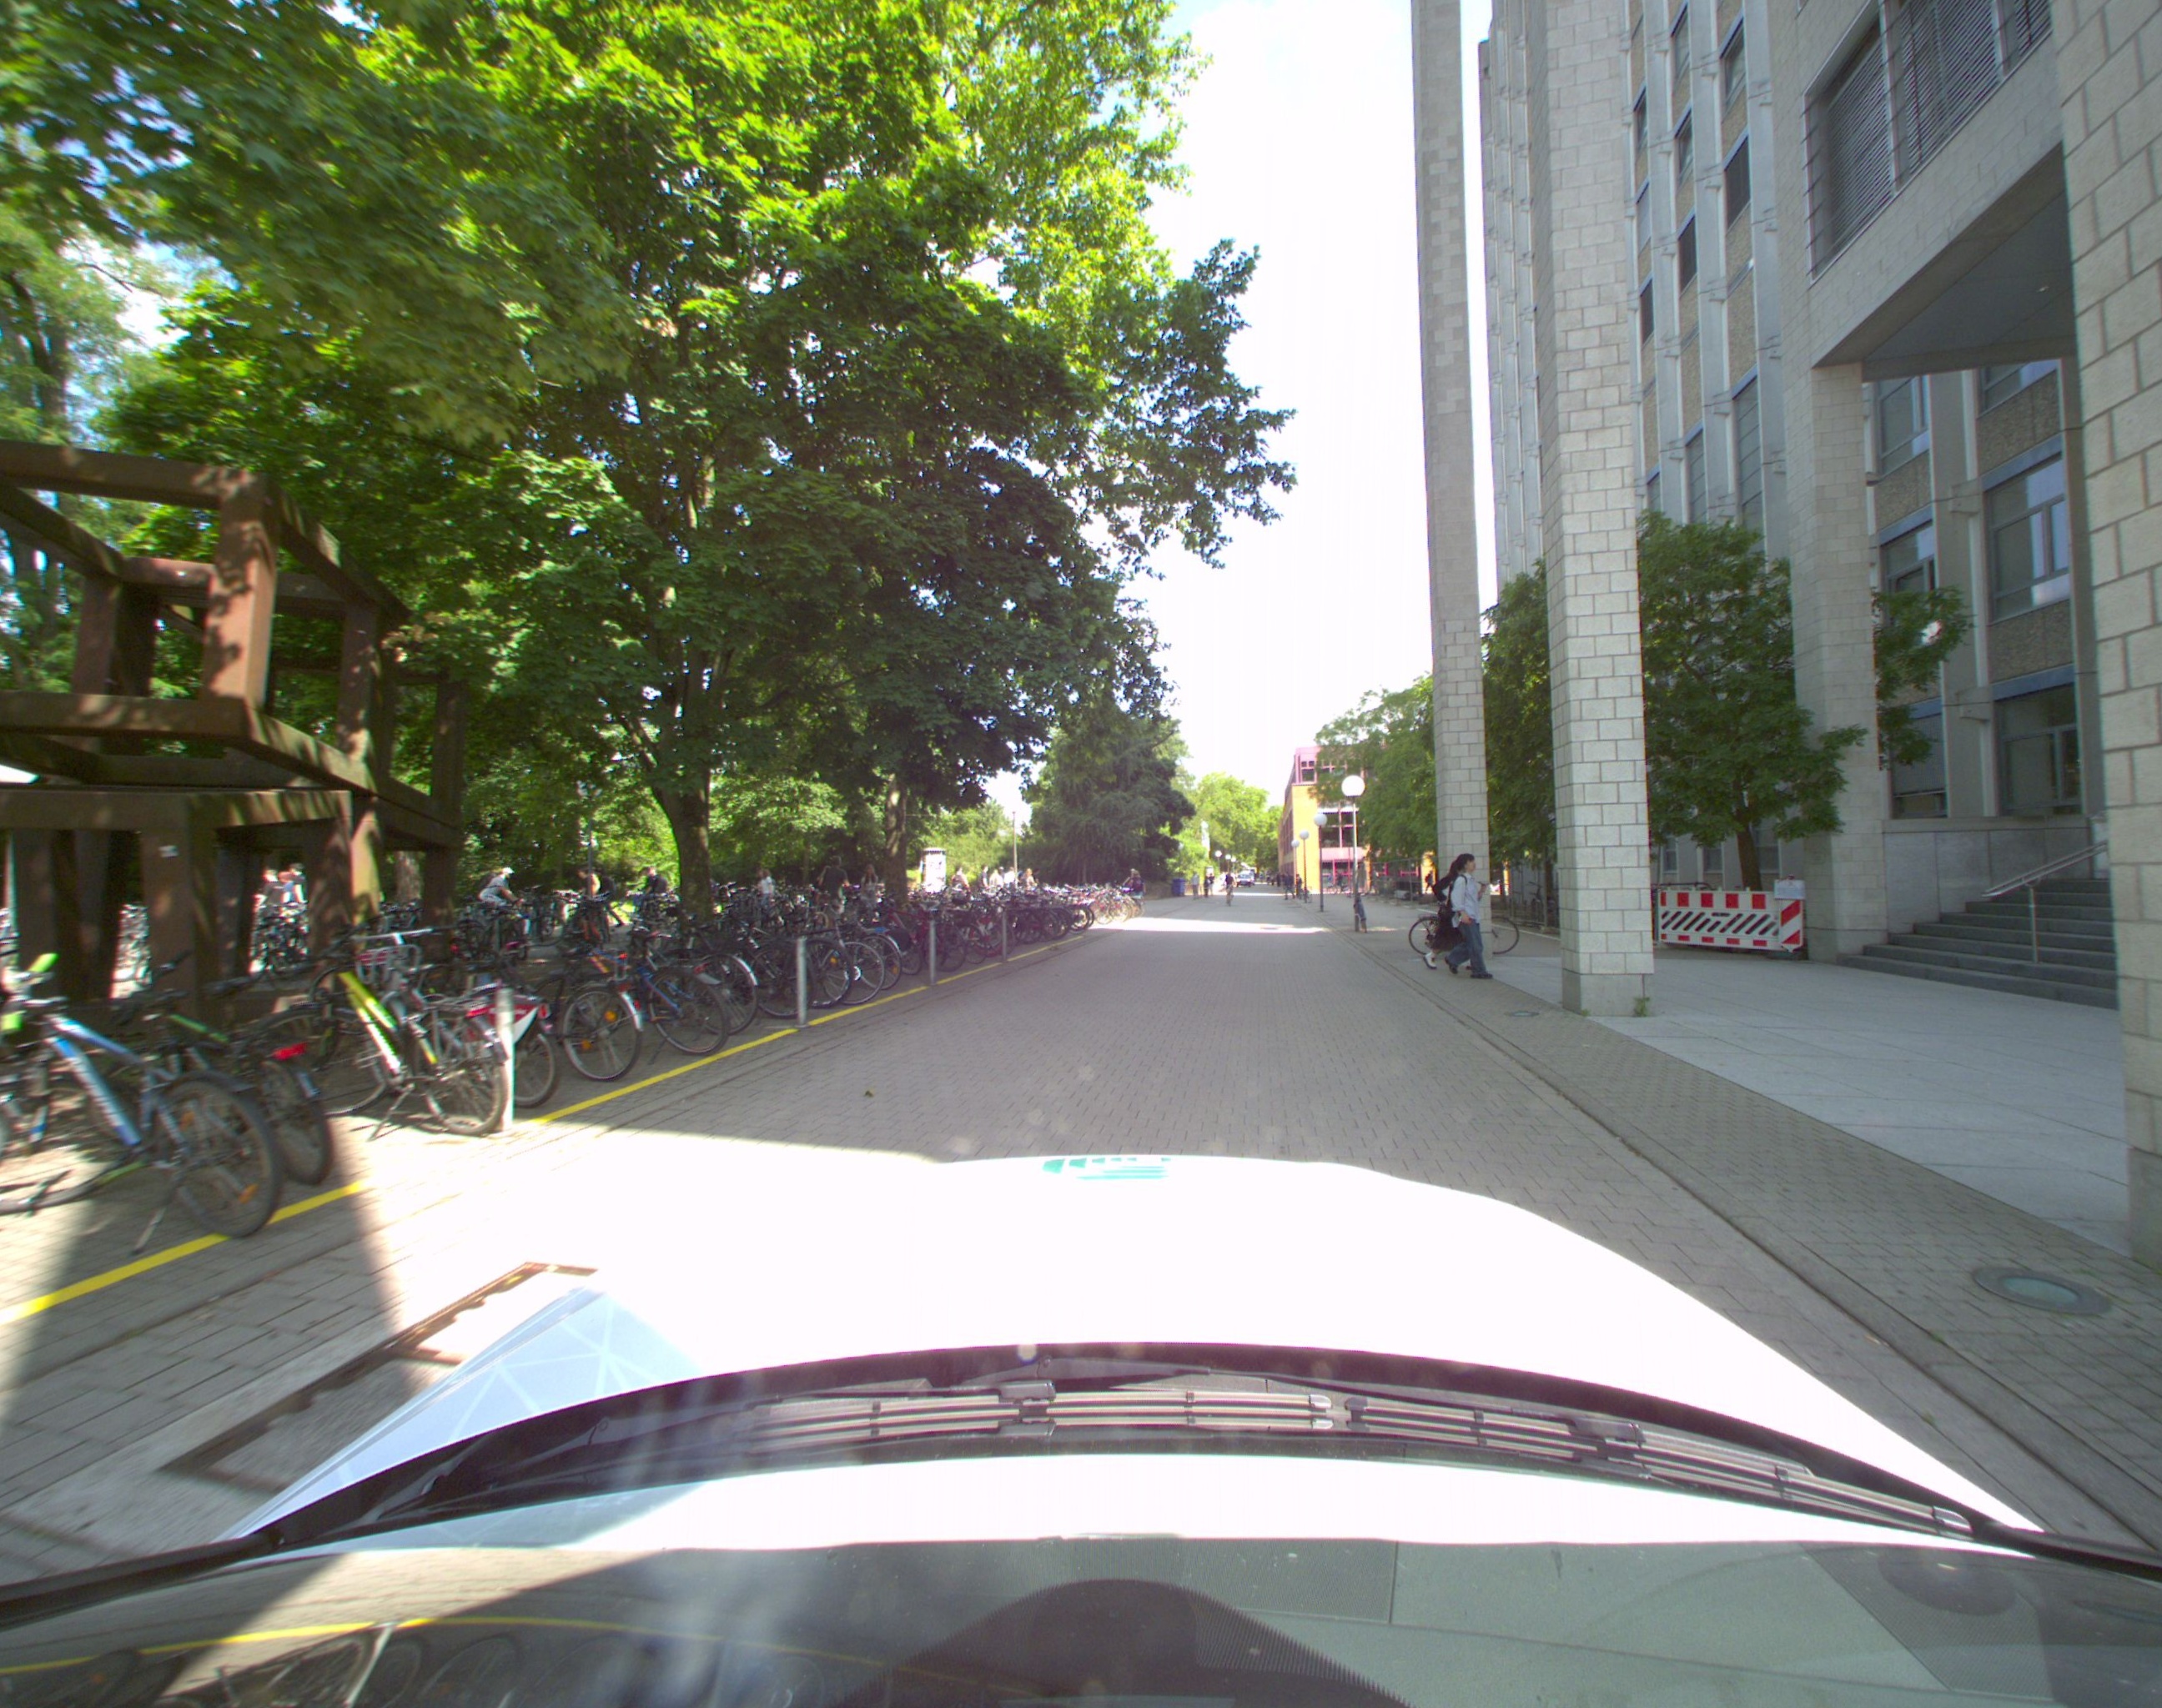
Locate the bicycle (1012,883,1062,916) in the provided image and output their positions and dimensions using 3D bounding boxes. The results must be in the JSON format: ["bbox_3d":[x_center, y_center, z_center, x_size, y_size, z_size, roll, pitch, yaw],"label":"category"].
[{"bbox_3d":[-1.514,1.549,27.715,1.678,1.084,0.477,-1,-2,28],"label":"bicycle"}]

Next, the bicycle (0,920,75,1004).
[{"bbox_3d":[-15.450,1.550,11.553,0.502,1.108,1.895,0,-2,-18],"label":"bicycle"}]

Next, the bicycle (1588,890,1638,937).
[{"bbox_3d":[11.214,1.239,17.194,0.289,0.905,1.451,-2,-1,9],"label":"bicycle"}]

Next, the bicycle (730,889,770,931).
[{"bbox_3d":[-9.189,1.535,22.571,0.477,1.084,1.679,1,-2,-43],"label":"bicycle"}]

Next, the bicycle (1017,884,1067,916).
[{"bbox_3d":[-1.355,1.572,28.185,1.702,1.084,0.477,-1,-2,26],"label":"bicycle"}]

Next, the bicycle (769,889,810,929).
[{"bbox_3d":[-8.280,1.545,23.077,0.477,1.084,1.679,1,-2,-43],"label":"bicycle"}]

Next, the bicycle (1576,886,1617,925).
[{"bbox_3d":[12.977,1.277,20.536,0.289,0.905,1.451,-2,-1,9],"label":"bicycle"}]

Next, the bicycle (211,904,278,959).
[{"bbox_3d":[-18.239,1.663,17.787,0.475,1.084,1.684,1,-2,-27],"label":"bicycle"}]

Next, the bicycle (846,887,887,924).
[{"bbox_3d":[-6.456,1.530,24.458,0.477,1.084,1.679,1,-2,-43],"label":"bicycle"}]

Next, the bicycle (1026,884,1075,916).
[{"bbox_3d":[-1.078,1.605,28.657,1.679,1.110,0.477,-1,-2,24],"label":"bicycle"}]

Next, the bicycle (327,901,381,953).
[{"bbox_3d":[-16.516,1.635,18.538,0.475,1.084,1.684,1,-2,-27],"label":"bicycle"}]

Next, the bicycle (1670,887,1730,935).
[{"bbox_3d":[12.696,1.147,16.738,0.289,0.905,1.451,-2,-1,9],"label":"bicycle"}]

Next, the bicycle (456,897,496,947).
[{"bbox_3d":[-14.468,1.604,19.509,0.475,1.084,1.684,1,-2,-27],"label":"bicycle"}]

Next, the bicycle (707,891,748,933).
[{"bbox_3d":[-9.682,1.564,22.270,0.477,1.084,1.679,1,-2,-43],"label":"bicycle"}]

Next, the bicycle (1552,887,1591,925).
[{"bbox_3d":[12.374,1.294,20.565,0.289,0.905,1.451,-2,-1,9],"label":"bicycle"}]

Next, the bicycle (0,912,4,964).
[{"bbox_3d":[-22.509,1.733,16.139,0.474,1.084,1.689,0,-2,-17],"label":"bicycle"}]

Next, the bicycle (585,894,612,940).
[{"bbox_3d":[-12.311,1.577,20.799,0.475,1.084,1.684,1,-2,-27],"label":"bicycle"}]

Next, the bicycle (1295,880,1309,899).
[{"bbox_3d":[13.731,2.197,50.547,0.703,1.093,1.754,-1,-2,12],"label":"bicycle"}]

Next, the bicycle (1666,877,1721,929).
[{"bbox_3d":[13.633,1.061,18.152,0.289,1.099,1.451,-2,-2,9],"label":"bicycle"}]

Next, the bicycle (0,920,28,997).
[{"bbox_3d":[-15.949,1.533,11.338,0.502,1.108,1.993,0,-2,-18],"label":"bicycle"}]

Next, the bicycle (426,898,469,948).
[{"bbox_3d":[-14.926,1.600,19.225,0.475,1.084,1.684,1,-2,-27],"label":"bicycle"}]

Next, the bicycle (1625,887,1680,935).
[{"bbox_3d":[11.852,1.163,16.917,0.289,0.905,1.451,-2,-1,9],"label":"bicycle"}]

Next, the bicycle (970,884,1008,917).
[{"bbox_3d":[-3.074,1.537,27.204,0.476,1.084,1.680,1,-2,-36],"label":"bicycle"}]

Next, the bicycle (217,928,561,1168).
[{"bbox_3d":[-3.798,0.990,4.494,1.612,1.108,0.632,-1,-2,16],"label":"bicycle"}]

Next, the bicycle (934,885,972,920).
[{"bbox_3d":[-4.160,1.557,26.397,0.476,1.084,1.680,1,-2,-36],"label":"bicycle"}]

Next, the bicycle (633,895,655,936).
[{"bbox_3d":[-11.241,1.562,20.966,0.453,0.962,1.724,1,-2,-27],"label":"bicycle"}]

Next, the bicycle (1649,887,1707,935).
[{"bbox_3d":[12.297,1.151,16.810,0.289,0.905,1.451,-2,-1,9],"label":"bicycle"}]

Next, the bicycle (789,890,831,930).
[{"bbox_3d":[-7.801,1.582,23.398,0.477,1.084,1.679,1,-2,-43],"label":"bicycle"}]

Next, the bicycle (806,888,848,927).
[{"bbox_3d":[-7.441,1.535,23.804,0.477,1.084,1.679,1,-2,-43],"label":"bicycle"}]

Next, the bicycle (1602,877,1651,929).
[{"bbox_3d":[12.272,1.081,18.365,0.289,1.128,1.451,-2,-2,9],"label":"bicycle"}]

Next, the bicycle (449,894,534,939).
[{"bbox_3d":[-15.226,1.606,21.075,1.704,1.084,0.598,0,-2,-29],"label":"bicycle"}]

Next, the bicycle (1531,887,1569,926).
[{"bbox_3d":[11.833,1.307,20.579,0.289,0.905,1.451,-2,-1,9],"label":"bicycle"}]

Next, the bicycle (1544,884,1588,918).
[{"bbox_3d":[13.877,1.332,23.351,0.289,0.905,1.807,-1,-1,4],"label":"bicycle"}]

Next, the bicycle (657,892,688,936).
[{"bbox_3d":[-10.862,1.575,21.621,0.476,1.084,1.681,1,-2,-35],"label":"bicycle"}]

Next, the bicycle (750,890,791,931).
[{"bbox_3d":[-8.679,1.550,22.713,0.477,1.084,1.679,1,-2,-43],"label":"bicycle"}]

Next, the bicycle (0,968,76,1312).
[{"bbox_3d":[-4.410,1.001,2.968,1.610,1.108,0.500,-2,0,23],"label":"bicycle"}]

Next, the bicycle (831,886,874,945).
[{"bbox_3d":[-5.035,1.315,17.871,0.577,1.200,1.684,1,-2,-27],"label":"bicycle"}]

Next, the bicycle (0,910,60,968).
[{"bbox_3d":[-21.456,1.699,16.233,0.474,1.084,1.689,0,-2,-17],"label":"bicycle"}]

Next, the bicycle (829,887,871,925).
[{"bbox_3d":[-6.870,1.532,24.162,0.477,1.084,1.679,1,-2,-43],"label":"bicycle"}]

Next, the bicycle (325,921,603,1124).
[{"bbox_3d":[-3.848,0.991,5.088,1.612,1.108,0.508,-1,-2,16],"label":"bicycle"}]

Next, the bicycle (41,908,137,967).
[{"bbox_3d":[-20.437,1.695,16.823,0.474,1.084,1.687,0,-2,-21],"label":"bicycle"}]

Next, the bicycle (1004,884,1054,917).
[{"bbox_3d":[-1.745,1.557,27.261,1.678,1.084,0.477,-1,-2,27],"label":"bicycle"}]

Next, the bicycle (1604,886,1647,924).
[{"bbox_3d":[13.642,1.264,20.445,0.289,0.905,1.451,-2,-1,9],"label":"bicycle"}]

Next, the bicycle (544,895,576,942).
[{"bbox_3d":[-12.974,1.579,20.302,0.475,1.084,1.684,1,-2,-27],"label":"bicycle"}]

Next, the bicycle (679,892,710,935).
[{"bbox_3d":[-10.396,1.570,21.874,0.476,1.084,1.681,1,-2,-35],"label":"bicycle"}]

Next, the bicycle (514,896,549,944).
[{"bbox_3d":[-13.522,1.593,20.065,0.475,1.084,1.684,1,-2,-27],"label":"bicycle"}]

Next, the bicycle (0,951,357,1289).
[{"bbox_3d":[-3.840,0.990,3.341,1.612,1.108,0.499,-1,-2,16],"label":"bicycle"}]

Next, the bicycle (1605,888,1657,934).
[{"bbox_3d":[11.540,1.178,17.120,0.289,0.905,1.451,-2,-1,9],"label":"bicycle"}]

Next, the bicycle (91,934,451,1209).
[{"bbox_3d":[-3.915,0.971,3.942,1.612,1.108,0.499,-1,-2,16],"label":"bicycle"}]

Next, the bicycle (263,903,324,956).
[{"bbox_3d":[-17.459,1.650,18.096,0.475,1.084,1.684,1,-2,-27],"label":"bicycle"}]

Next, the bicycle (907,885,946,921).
[{"bbox_3d":[-4.923,1.543,25.847,0.476,1.084,1.679,1,-2,-40],"label":"bicycle"}]

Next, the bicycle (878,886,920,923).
[{"bbox_3d":[-5.616,1.530,25.095,0.477,1.084,1.679,1,-2,-43],"label":"bicycle"}]
